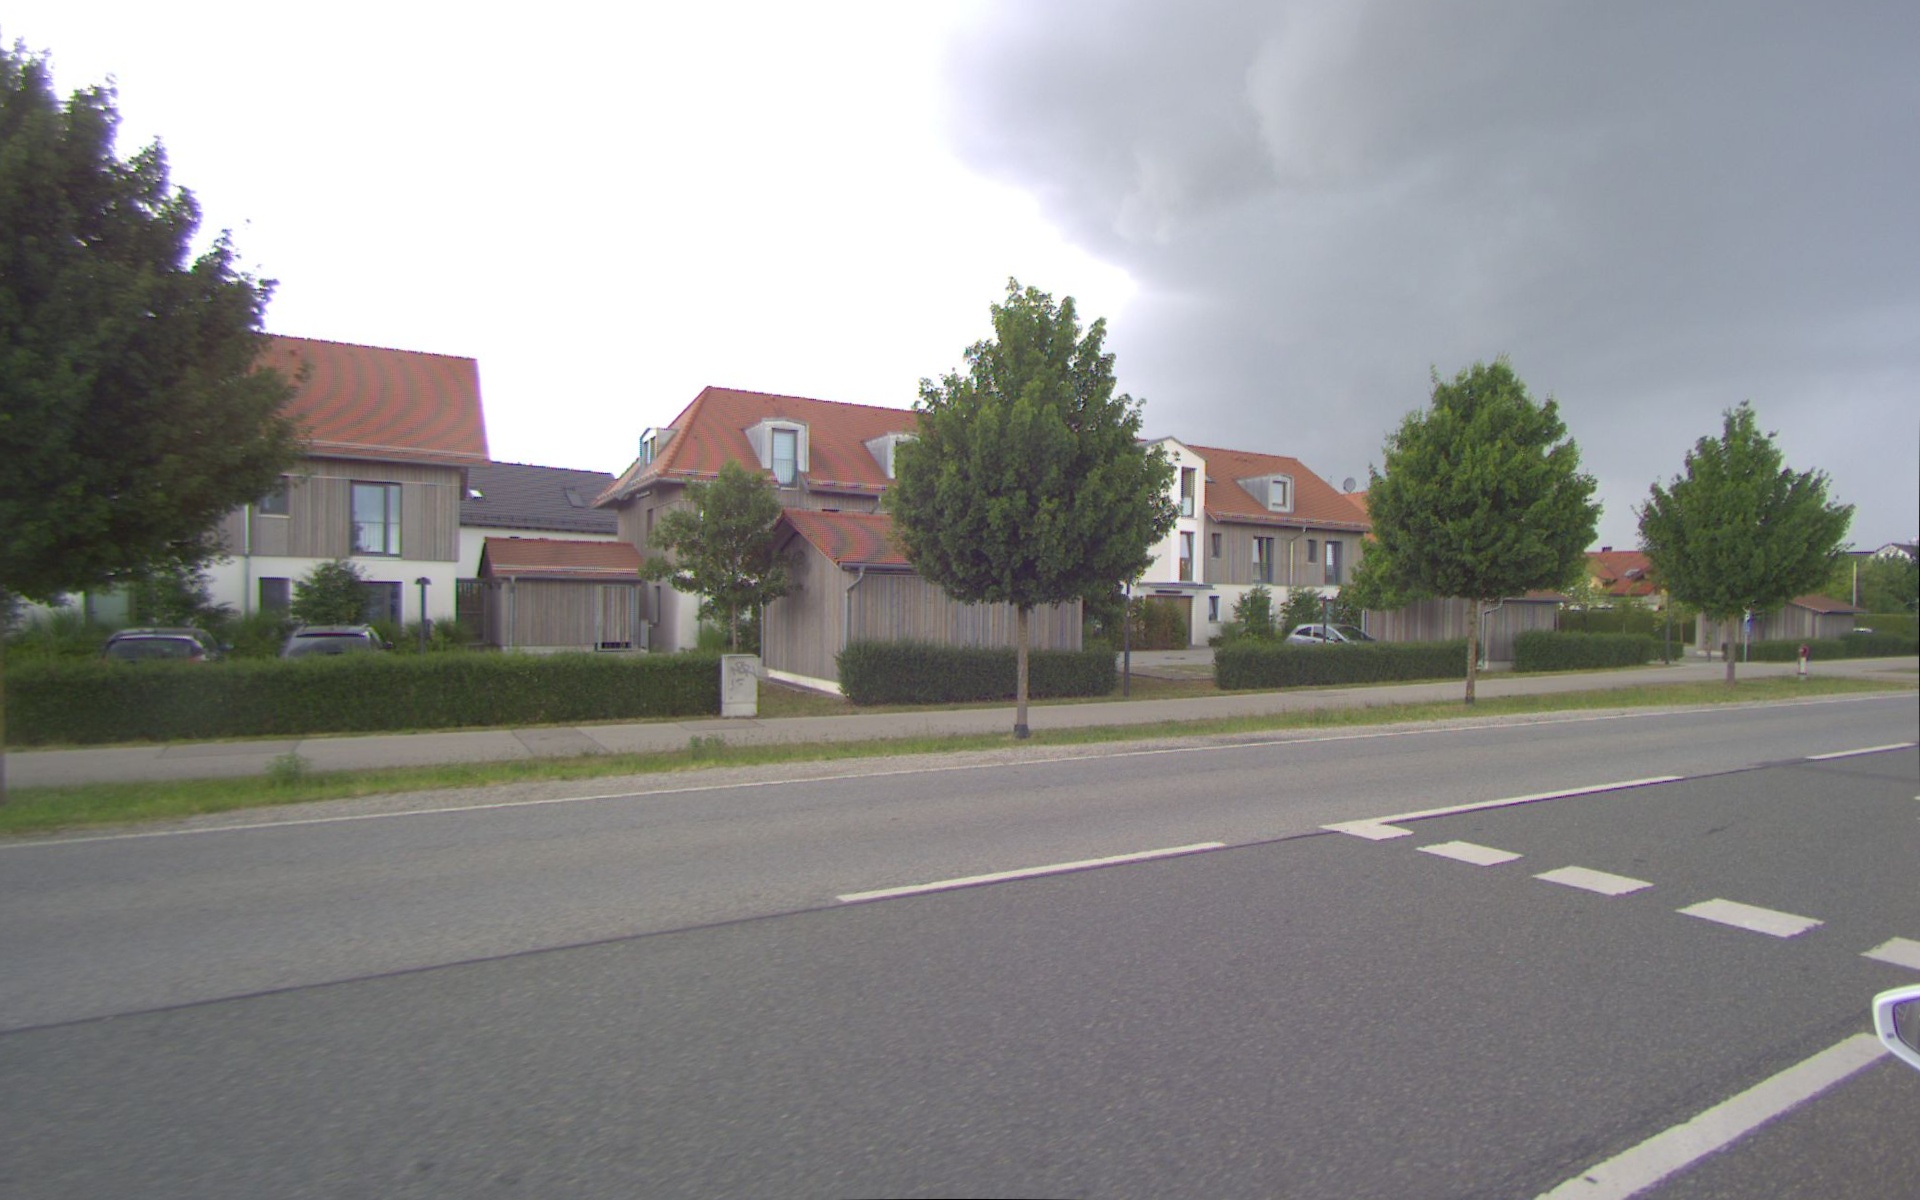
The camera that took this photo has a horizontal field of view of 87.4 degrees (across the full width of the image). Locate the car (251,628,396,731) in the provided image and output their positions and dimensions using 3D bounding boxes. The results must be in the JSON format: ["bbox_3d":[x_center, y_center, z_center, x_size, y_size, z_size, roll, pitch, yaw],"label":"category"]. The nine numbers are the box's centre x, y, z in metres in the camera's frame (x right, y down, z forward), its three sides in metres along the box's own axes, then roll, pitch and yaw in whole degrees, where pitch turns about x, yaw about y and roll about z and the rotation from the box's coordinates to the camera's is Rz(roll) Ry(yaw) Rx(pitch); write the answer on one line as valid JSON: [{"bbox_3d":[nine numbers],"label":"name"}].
[{"bbox_3d":[-11.523,1.342,18.444,1.976,1.639,3.970,1,-2,-29],"label":"car"}]

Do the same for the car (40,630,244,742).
[{"bbox_3d":[-13.697,1.334,17.103,1.976,1.639,3.970,1,-2,-29],"label":"car"}]

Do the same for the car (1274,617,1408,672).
[{"bbox_3d":[12.966,1.472,34.410,1.976,1.577,3.969,1,1,-29],"label":"car"}]
